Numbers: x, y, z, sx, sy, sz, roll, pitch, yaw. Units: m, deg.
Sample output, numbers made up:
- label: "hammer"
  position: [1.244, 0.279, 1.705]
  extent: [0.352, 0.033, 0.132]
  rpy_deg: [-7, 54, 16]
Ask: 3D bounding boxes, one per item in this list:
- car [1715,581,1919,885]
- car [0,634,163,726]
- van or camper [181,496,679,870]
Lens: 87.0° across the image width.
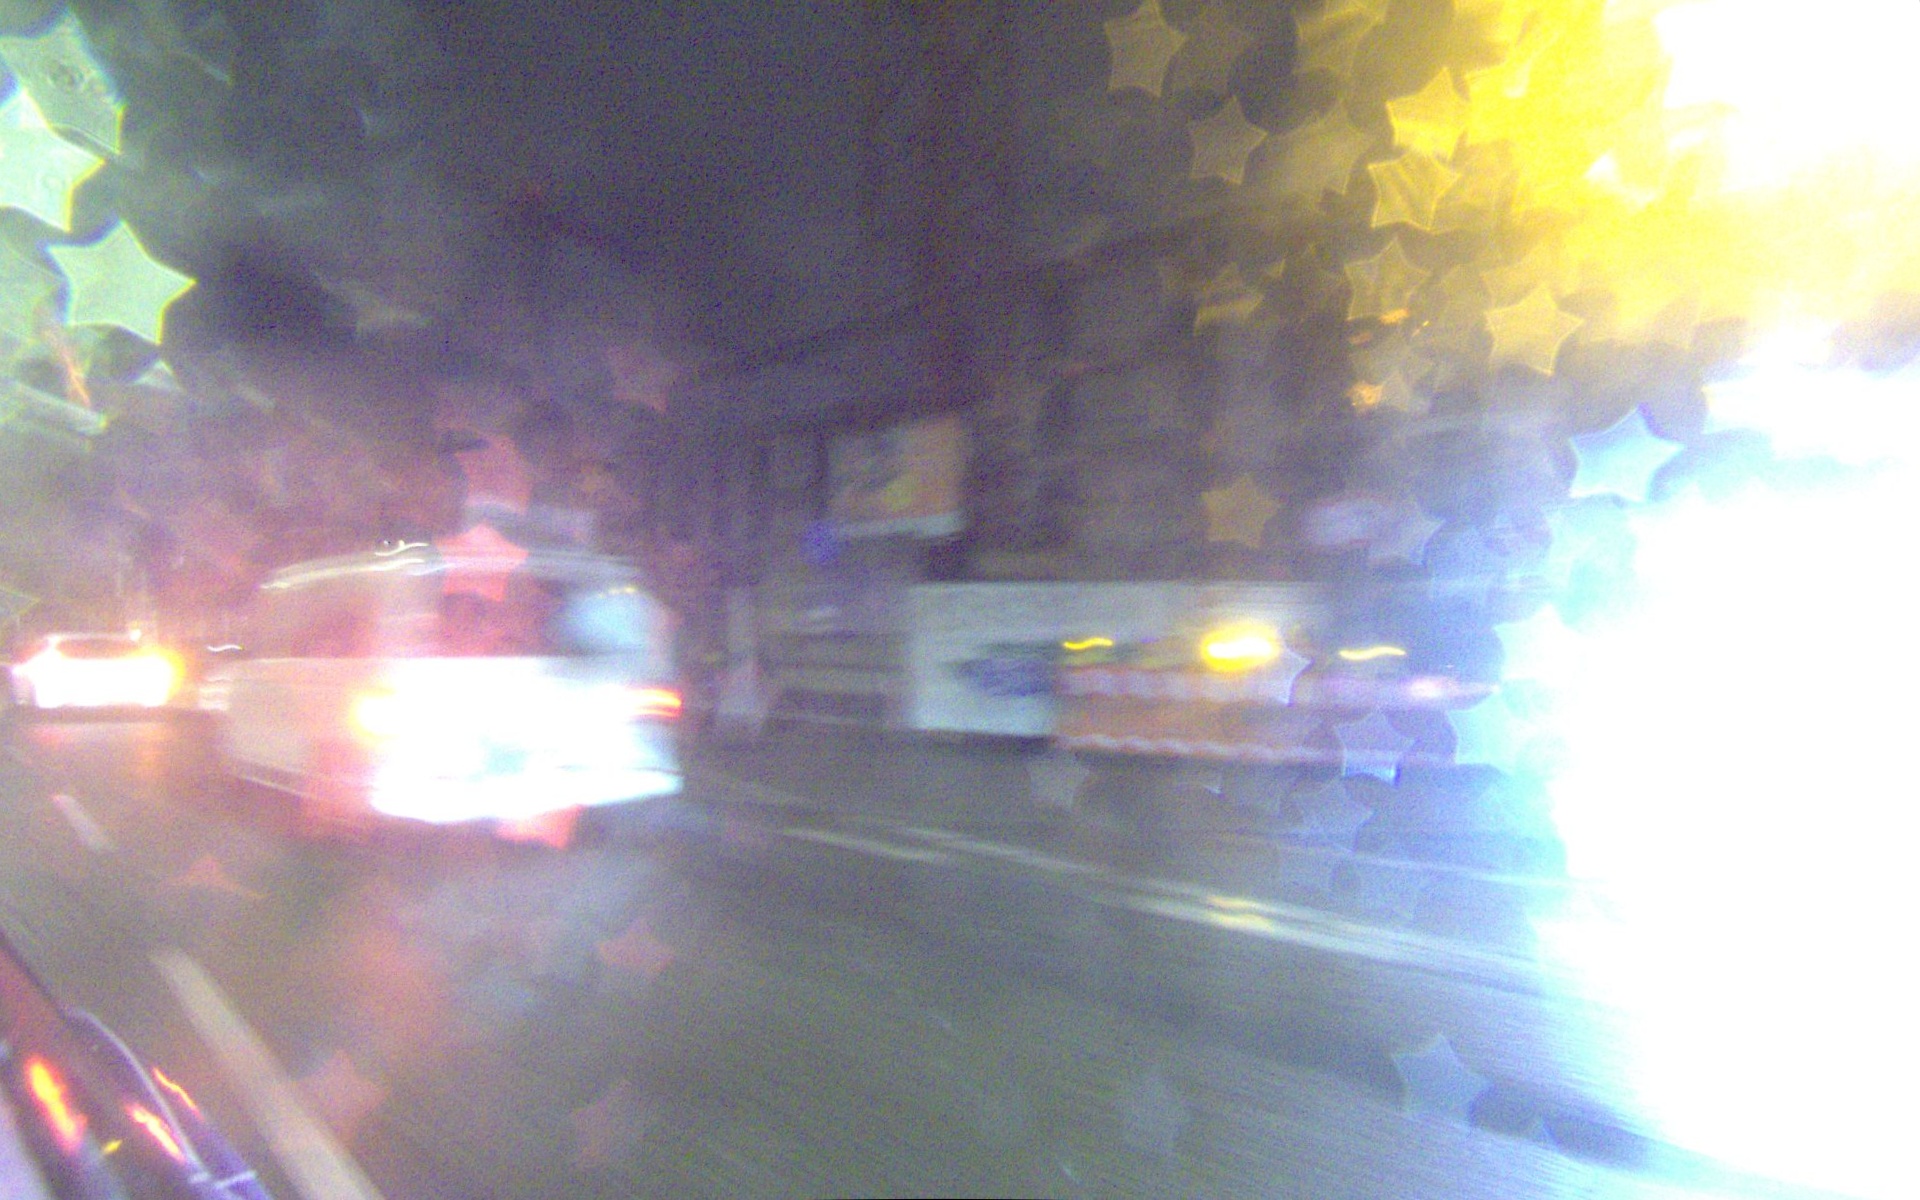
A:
- label: "car"
  position: [7.093, 0.793, 6.756]
  extent: [4.627, 1.631, 2.004]
  rpy_deg: [3, -4, -37]
- label: "car"
  position: [-15.635, 1.334, 17.915]
  extent: [3.999, 1.444, 1.726]
  rpy_deg: [-2, -3, 42]
- label: "van or camper"
  position: [-4.455, 0.545, 8.084]
  extent: [4.940, 2.119, 1.850]
  rpy_deg: [-2, -3, 41]
